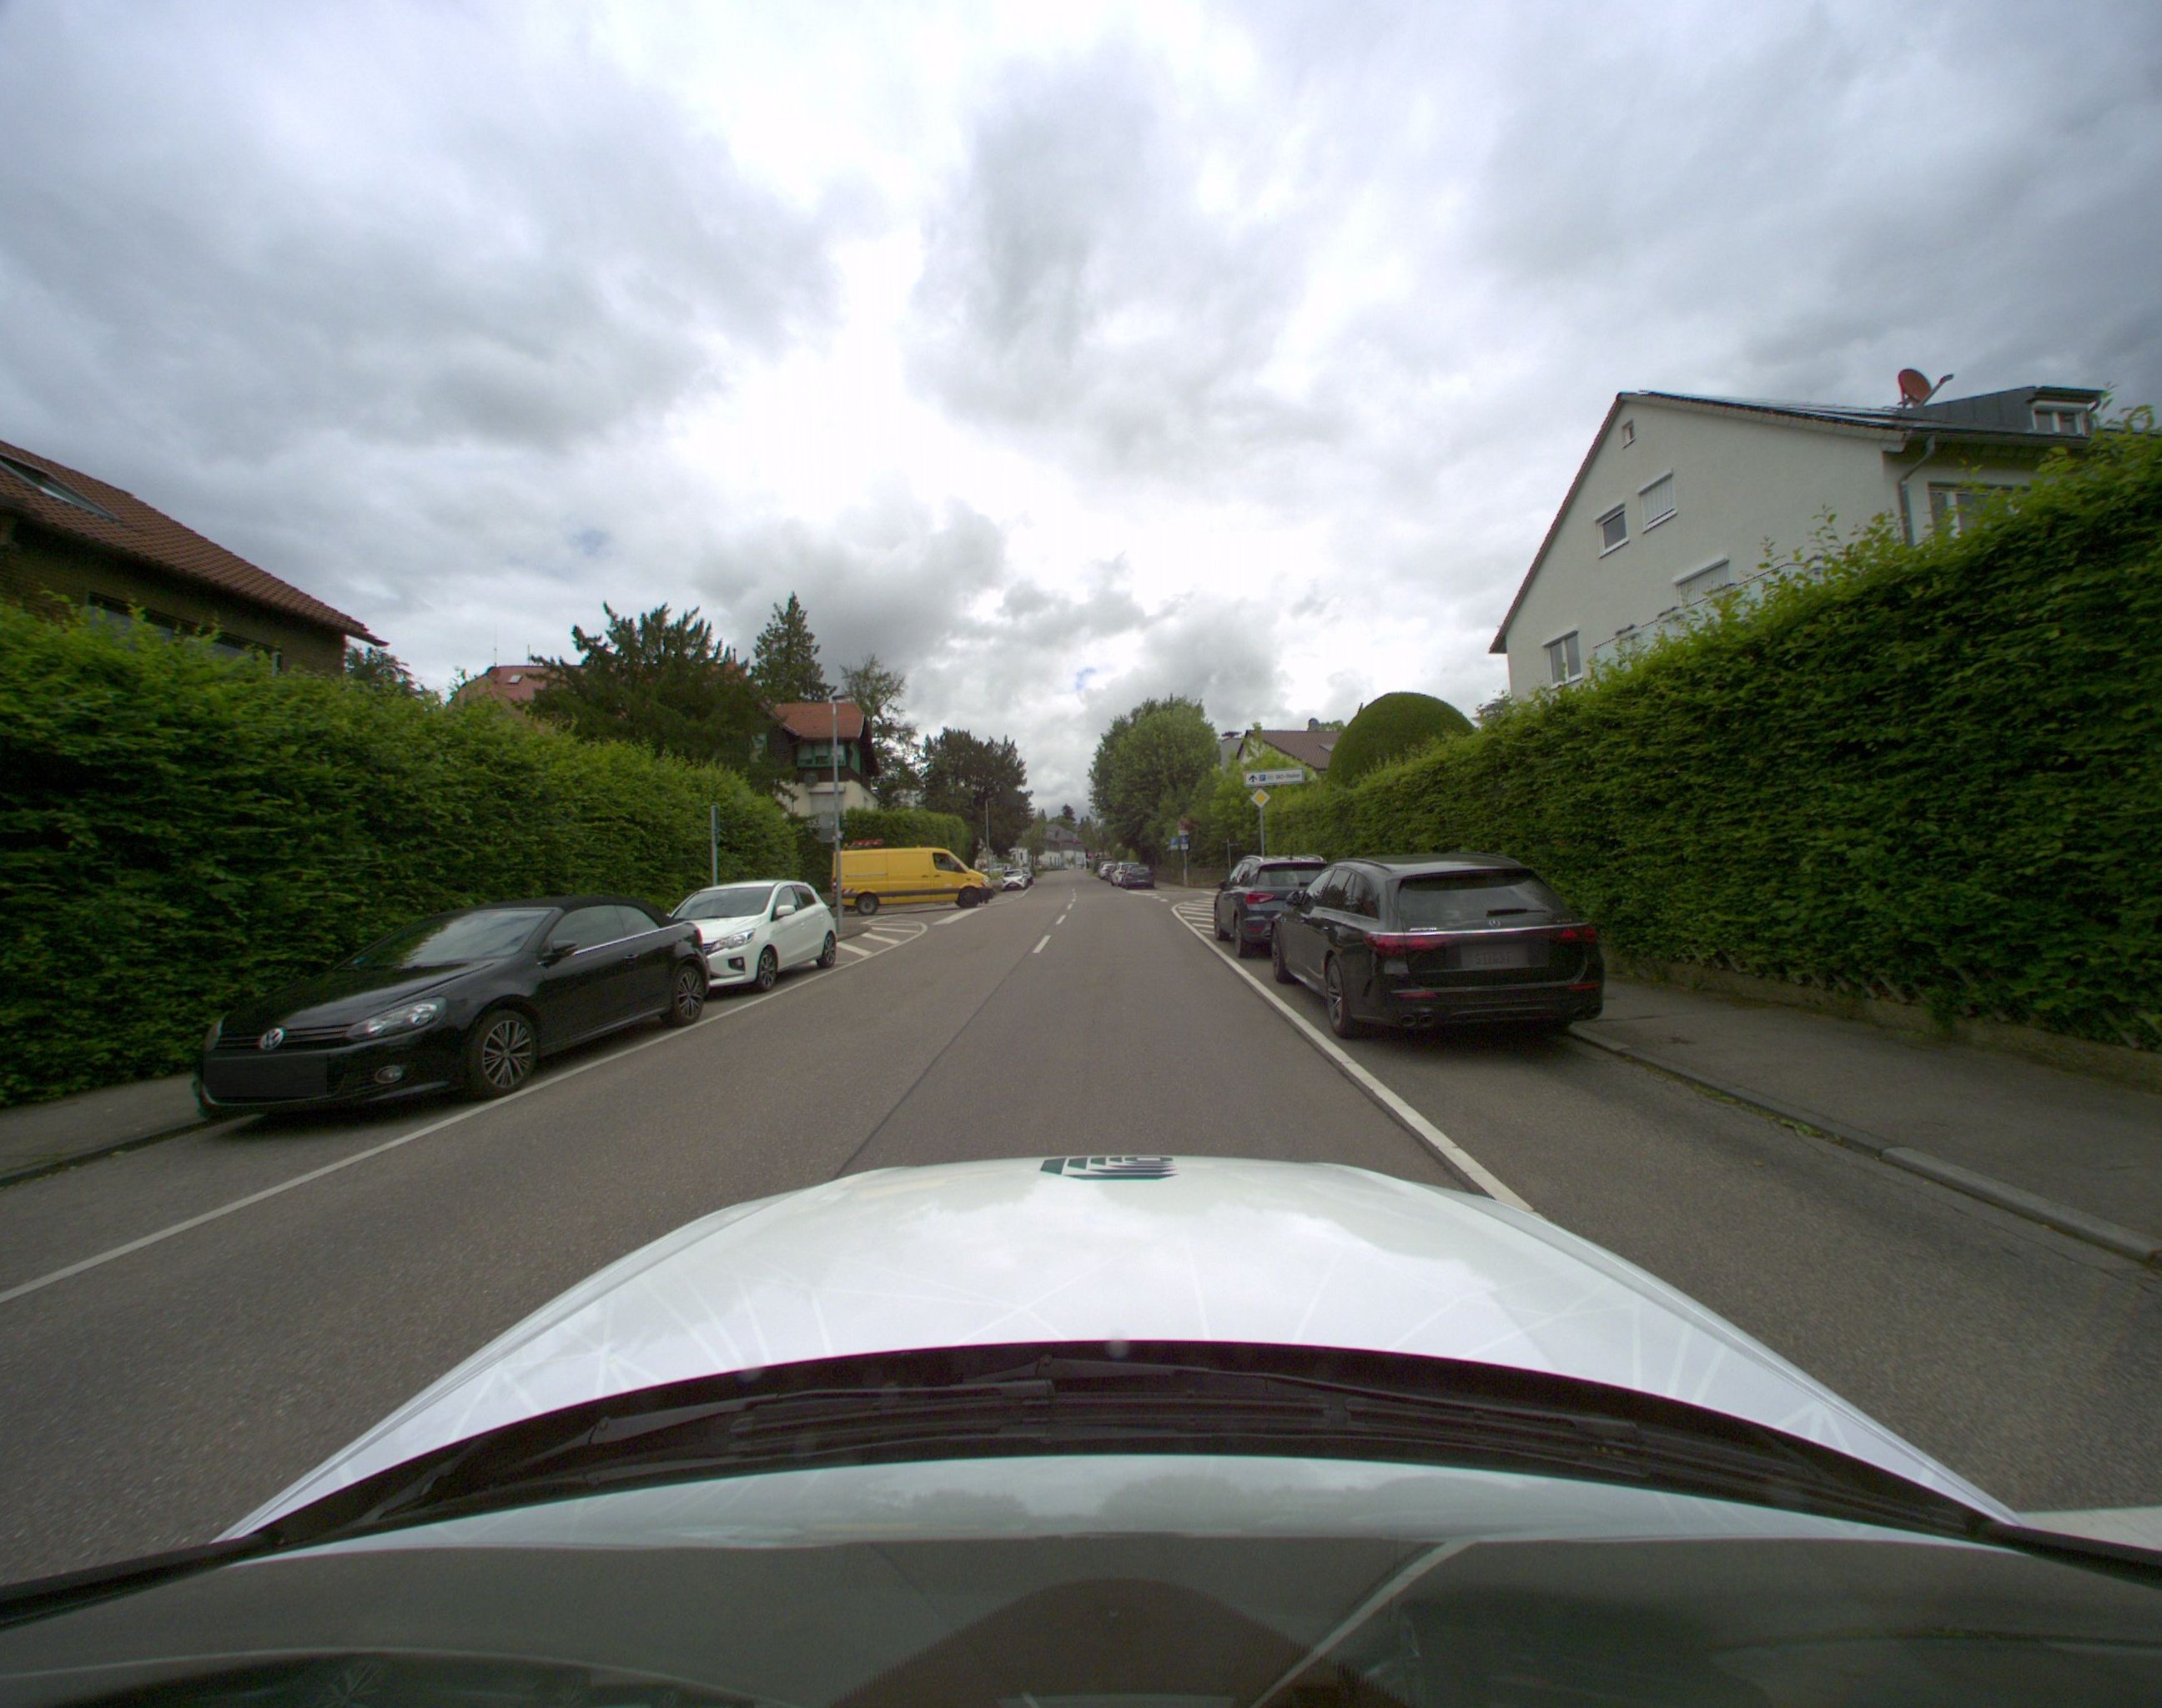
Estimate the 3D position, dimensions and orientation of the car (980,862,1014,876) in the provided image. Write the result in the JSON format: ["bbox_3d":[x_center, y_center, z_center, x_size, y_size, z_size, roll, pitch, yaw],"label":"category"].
[{"bbox_3d":[-11.314,2.049,110.295,4.377,1.566,2.064,-3,0,-3],"label":"car"}]

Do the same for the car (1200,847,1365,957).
[{"bbox_3d":[3.201,0.694,13.842,1.783,1.488,4.380,-3,0,2],"label":"car"}]

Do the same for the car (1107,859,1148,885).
[{"bbox_3d":[3.164,1.239,56.521,1.998,1.608,4.748,-3,0,-6],"label":"car"}]

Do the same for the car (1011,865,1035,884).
[{"bbox_3d":[-4.856,1.701,69.068,1.846,1.469,4.678,-3,0,-3],"label":"car"}]

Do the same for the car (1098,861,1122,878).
[{"bbox_3d":[2.698,1.450,76.928,1.988,1.491,5.002,-3,0,-1],"label":"car"}]

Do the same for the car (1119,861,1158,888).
[{"bbox_3d":[3.599,1.261,51.593,1.933,1.491,4.452,-3,0,-3],"label":"car"}]

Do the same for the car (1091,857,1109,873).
[{"bbox_3d":[2.255,1.385,99.525,1.931,1.838,5.216,-2,-1,-1],"label":"car"}]

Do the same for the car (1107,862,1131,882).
[{"bbox_3d":[3.070,1.440,66.161,1.693,1.508,4.157,0,-1,-1],"label":"car"}]

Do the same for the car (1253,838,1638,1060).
[{"bbox_3d":[3.135,0.685,8.410,1.915,1.494,5.214,-3,0,4],"label":"car"}]

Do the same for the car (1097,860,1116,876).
[{"bbox_3d":[2.619,1.405,82.870,1.712,1.632,3.926,-1,-1,-1],"label":"car"}]

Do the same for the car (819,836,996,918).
[{"bbox_3d":[-6.470,0.797,30.320,6.141,2.601,2.353,-3,0,-18],"label":"car"}]

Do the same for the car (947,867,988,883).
[{"bbox_3d":[-10.893,1.994,78.111,3.791,1.354,1.737,-2,-1,-7],"label":"car"}]

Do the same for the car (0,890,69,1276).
[{"bbox_3d":[-5.229,0.939,1.215,1.879,1.490,4.344,-3,0,2],"label":"car"}]

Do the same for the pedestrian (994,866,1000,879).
[{"bbox_3d":[-10.831,2.333,105.315,0.591,1.640,0.565,-3,-1,-1],"label":"pedestrian"}]

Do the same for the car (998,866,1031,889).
[{"bbox_3d":[-4.628,1.620,56.900,1.737,1.448,3.517,-2,-1,4],"label":"car"}]

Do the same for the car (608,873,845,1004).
[{"bbox_3d":[-4.931,1.099,11.924,1.683,1.419,3.581,-5,0,2],"label":"car"}]

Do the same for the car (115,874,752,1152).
[{"bbox_3d":[-4.981,1.046,7.416,1.775,1.490,4.740,-6,-1,2],"label":"car"}]
